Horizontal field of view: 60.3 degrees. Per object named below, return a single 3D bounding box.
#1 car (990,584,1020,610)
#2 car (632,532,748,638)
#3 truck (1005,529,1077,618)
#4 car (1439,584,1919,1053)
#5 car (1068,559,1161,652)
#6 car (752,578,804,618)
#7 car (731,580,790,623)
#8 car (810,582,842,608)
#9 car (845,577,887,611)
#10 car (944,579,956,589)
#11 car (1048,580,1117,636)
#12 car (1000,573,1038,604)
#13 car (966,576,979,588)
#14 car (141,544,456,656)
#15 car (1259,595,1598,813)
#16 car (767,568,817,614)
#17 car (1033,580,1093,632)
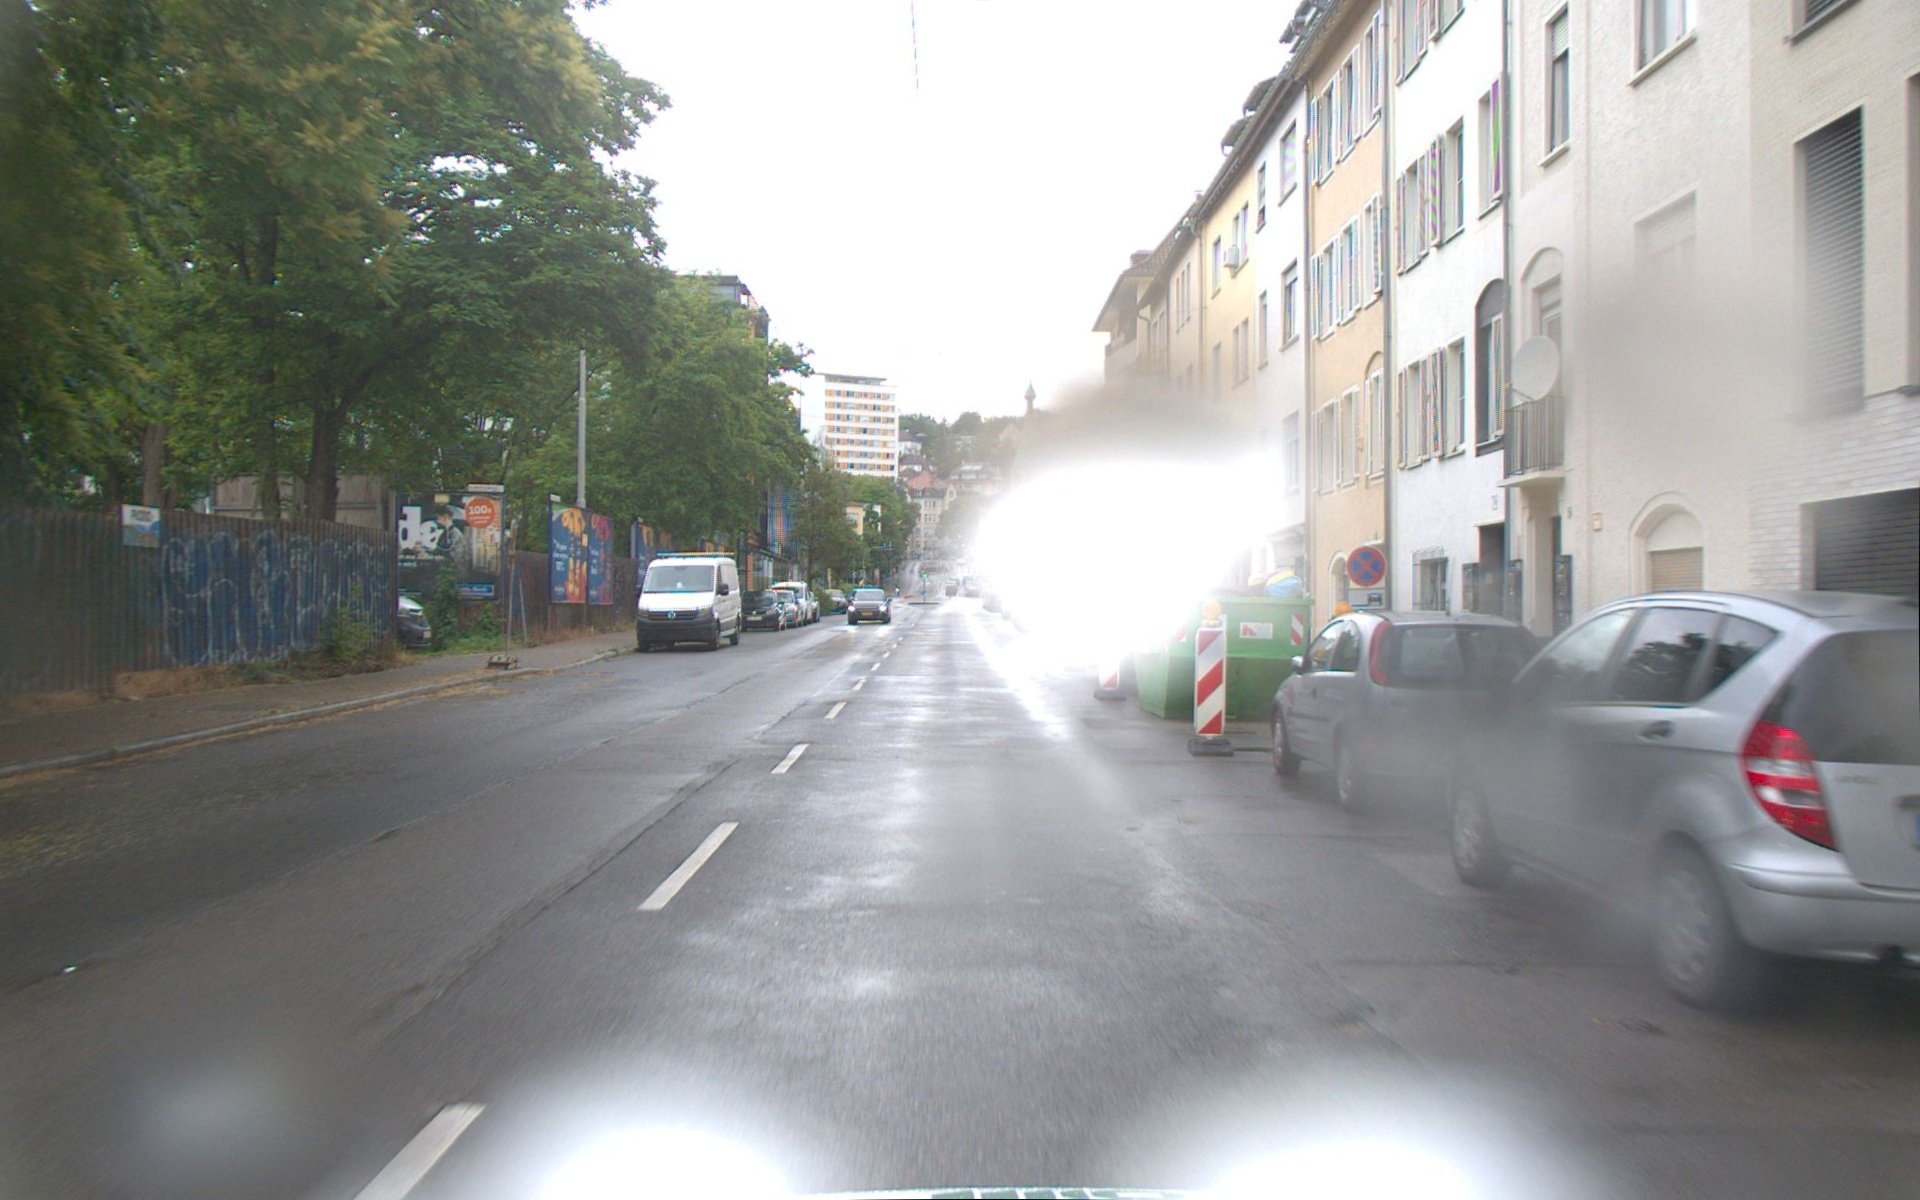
[{"bbox_3d":[2.929,-0.189,108.878,1.780,1.681,4.075,1,0,-1],"label":"car"},{"bbox_3d":[-6.939,-0.380,43.157,1.970,2.530,5.983,-1,0,0],"label":"car"},{"bbox_3d":[3.021,-0.945,63.277,2.419,3.228,7.035,0,0,0],"label":"truck"},{"bbox_3d":[3.638,0.721,7.506,1.681,1.551,3.999,1,0,-1],"label":"car"},{"bbox_3d":[3.395,0.105,37.031,1.780,1.958,4.239,0,0,1],"label":"car"},{"bbox_3d":[-7.125,-0.067,65.133,1.648,1.488,4.276,-1,0,-1],"label":"car"},{"bbox_3d":[-6.997,0.056,58.318,1.648,1.423,3.909,-1,0,-1],"label":"car"},{"bbox_3d":[-8.017,-0.302,99.327,1.767,1.476,4.655,-1,-1,-3],"label":"car"},{"bbox_3d":[-4.109,-0.241,72.911,1.769,1.440,4.382,0,0,-2],"label":"car"},{"bbox_3d":[-1.624,-2.532,262.495,1.869,1.537,3.999,0,0,-1],"label":"car"},{"bbox_3d":[3.469,0.219,47.436,1.629,1.526,4.097,0,0,-1],"label":"car"},{"bbox_3d":[2.959,-0.546,83.412,1.630,1.528,3.920,0,0,-2],"label":"car"},{"bbox_3d":[1.883,-2.623,243.843,1.696,1.682,4.002,-1,1,2],"label":"car"},{"bbox_3d":[-13.106,-0.009,33.077,5.389,2.044,2.145,-1,0,-3],"label":"car"},{"bbox_3d":[3.552,0.705,13.230,1.593,1.435,3.842,1,0,0],"label":"car"},{"bbox_3d":[-7.053,-0.343,69.696,1.688,1.832,4.343,-1,0,-1],"label":"car"},{"bbox_3d":[3.271,0.169,53.257,1.629,1.601,4.097,0,0,-1],"label":"car"}]
